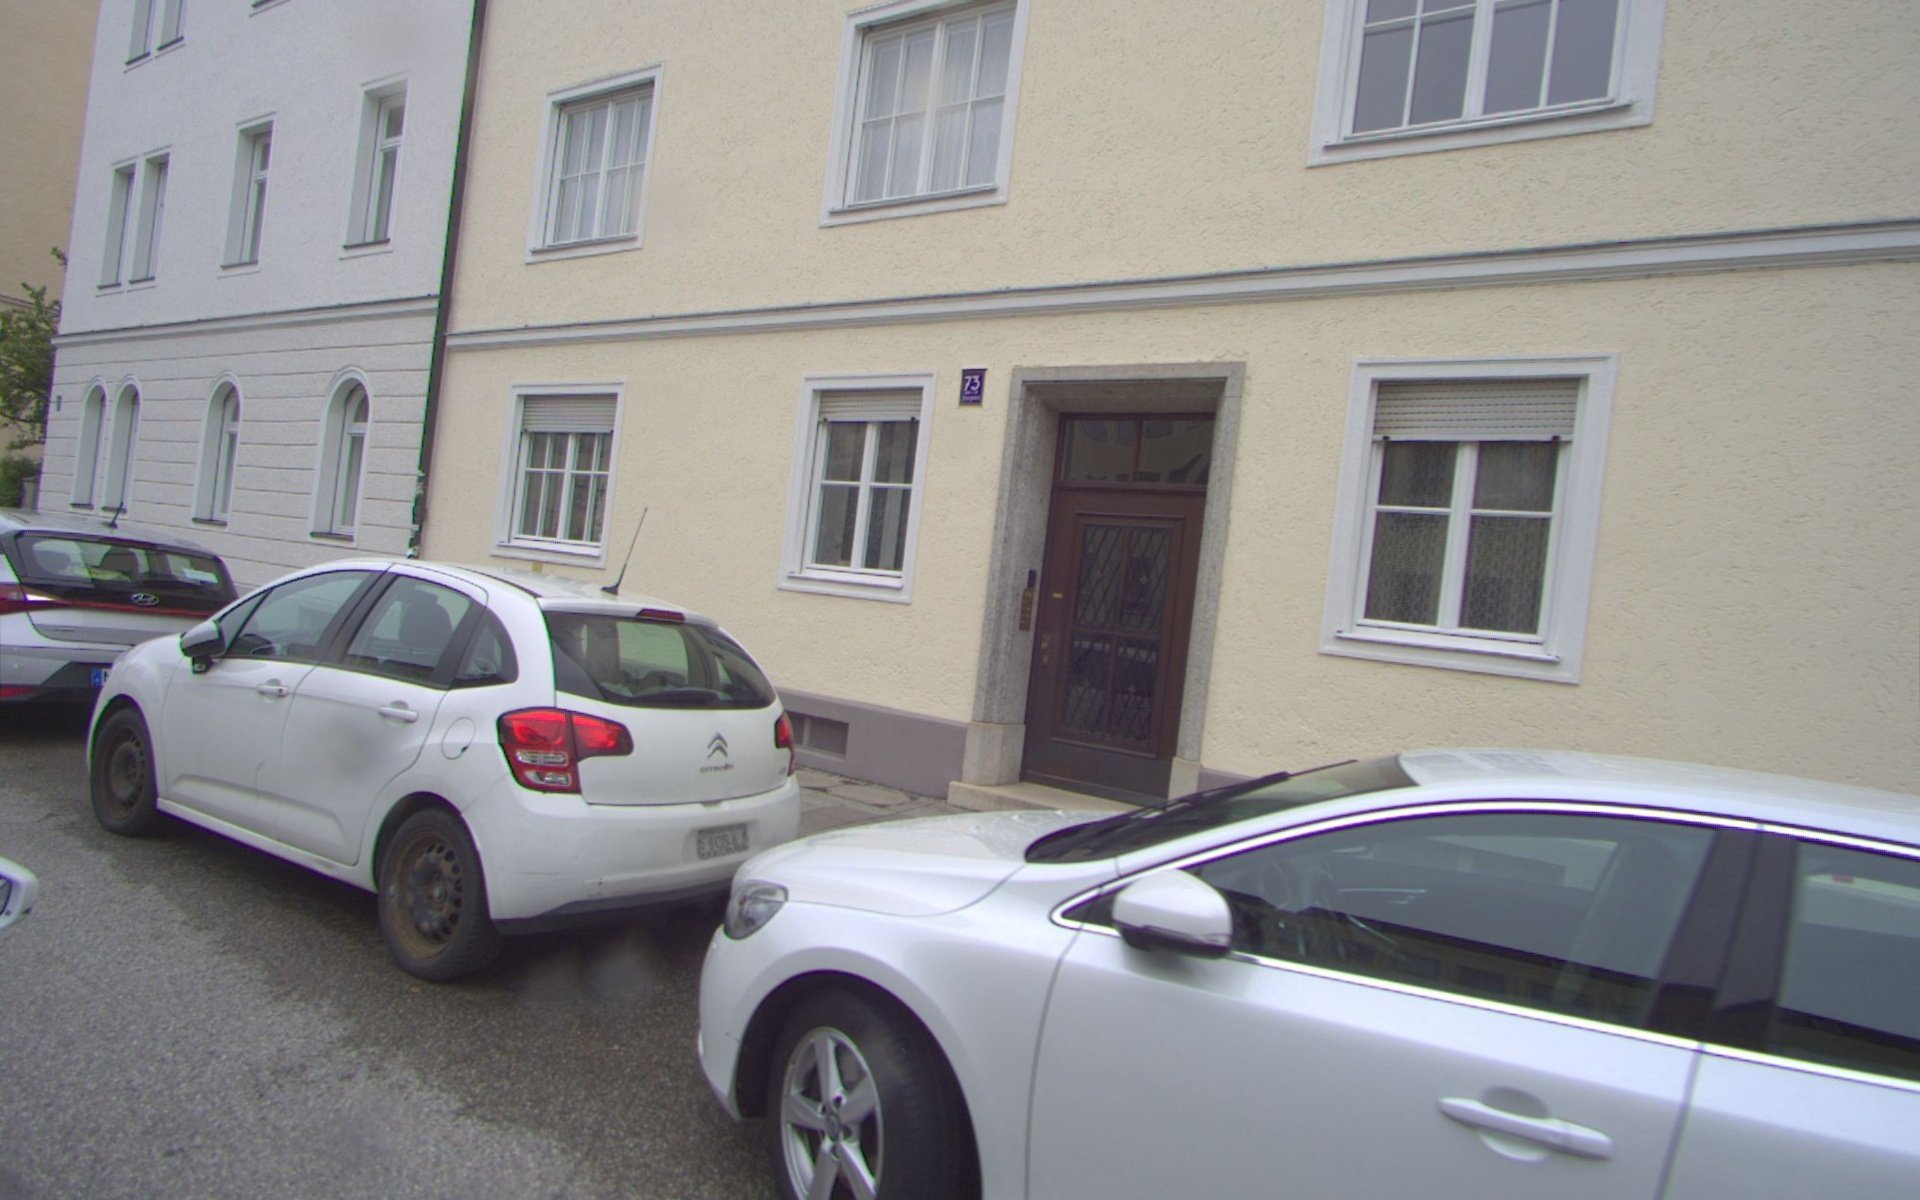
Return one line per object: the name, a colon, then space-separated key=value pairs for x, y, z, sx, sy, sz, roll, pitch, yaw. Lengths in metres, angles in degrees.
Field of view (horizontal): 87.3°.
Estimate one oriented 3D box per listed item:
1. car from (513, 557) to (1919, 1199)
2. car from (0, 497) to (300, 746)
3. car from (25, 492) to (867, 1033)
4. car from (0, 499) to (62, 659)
car: x=1.084 y=0.907 z=2.465 sx=4.221 sy=1.446 sz=1.729 roll=7 pitch=-2 yaw=31
car: x=-7.100 y=-0.008 z=7.603 sx=4.116 sy=1.466 sz=1.729 roll=7 pitch=-2 yaw=30
car: x=-2.630 y=0.508 z=4.963 sx=3.925 sy=1.561 sz=1.655 roll=7 pitch=-2 yaw=29
car: x=-11.135 y=-0.495 z=10.013 sx=4.599 sy=1.466 sz=1.880 roll=7 pitch=-2 yaw=31
